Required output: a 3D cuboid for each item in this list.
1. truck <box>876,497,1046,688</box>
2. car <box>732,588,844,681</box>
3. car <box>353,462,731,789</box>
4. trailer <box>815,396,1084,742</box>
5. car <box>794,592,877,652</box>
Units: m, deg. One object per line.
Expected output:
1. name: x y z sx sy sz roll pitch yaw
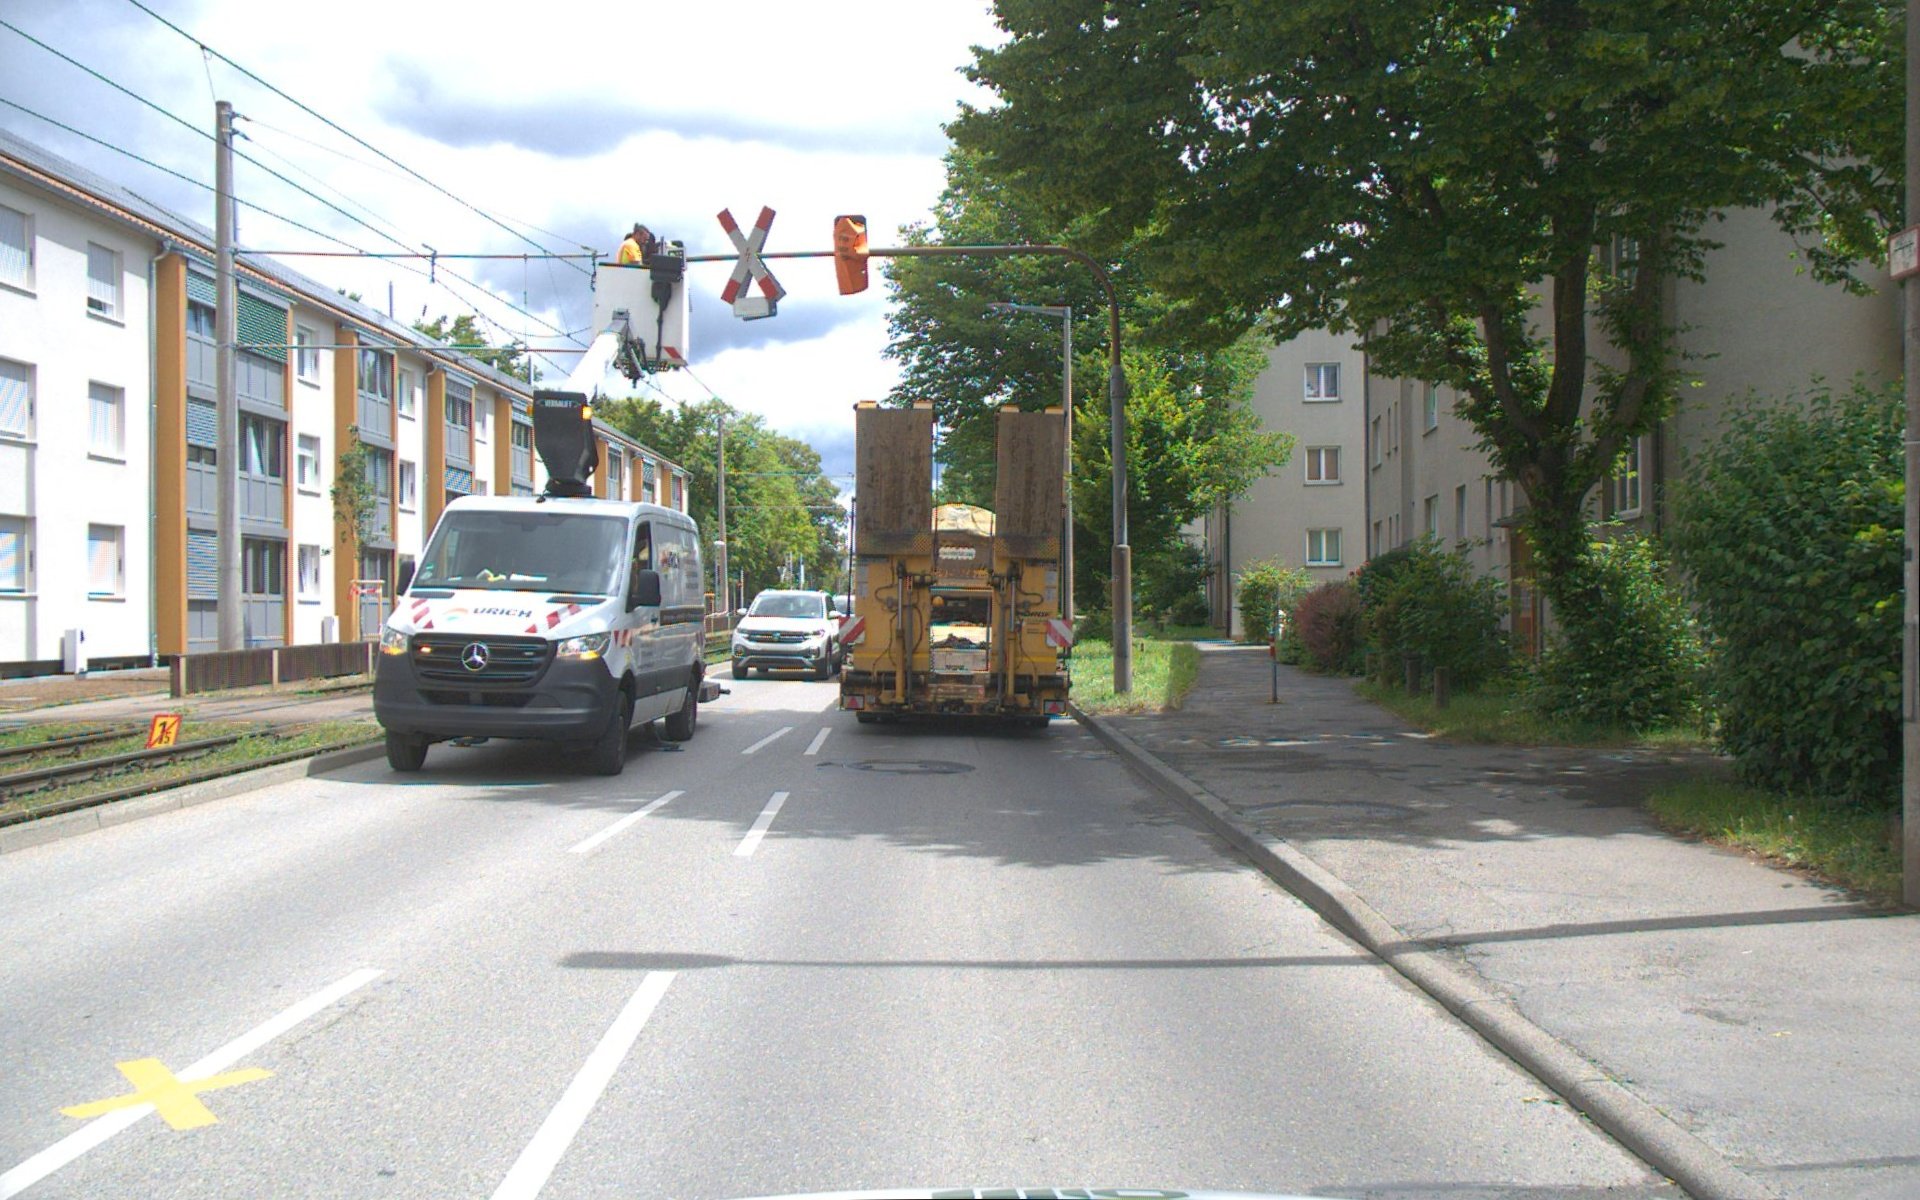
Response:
1. truck: 0.010 -0.135 32.298 2.858 3.222 7.679 1 0 0
2. car: -3.116 0.600 30.638 1.683 1.579 3.916 1 0 -1
3. car: -3.620 0.186 15.768 1.953 2.473 6.321 1 0 0
4. trailer: -0.056 -0.332 22.967 2.765 3.585 11.052 1 0 1
5. car: -3.336 0.572 45.162 1.840 1.507 4.529 1 0 1
